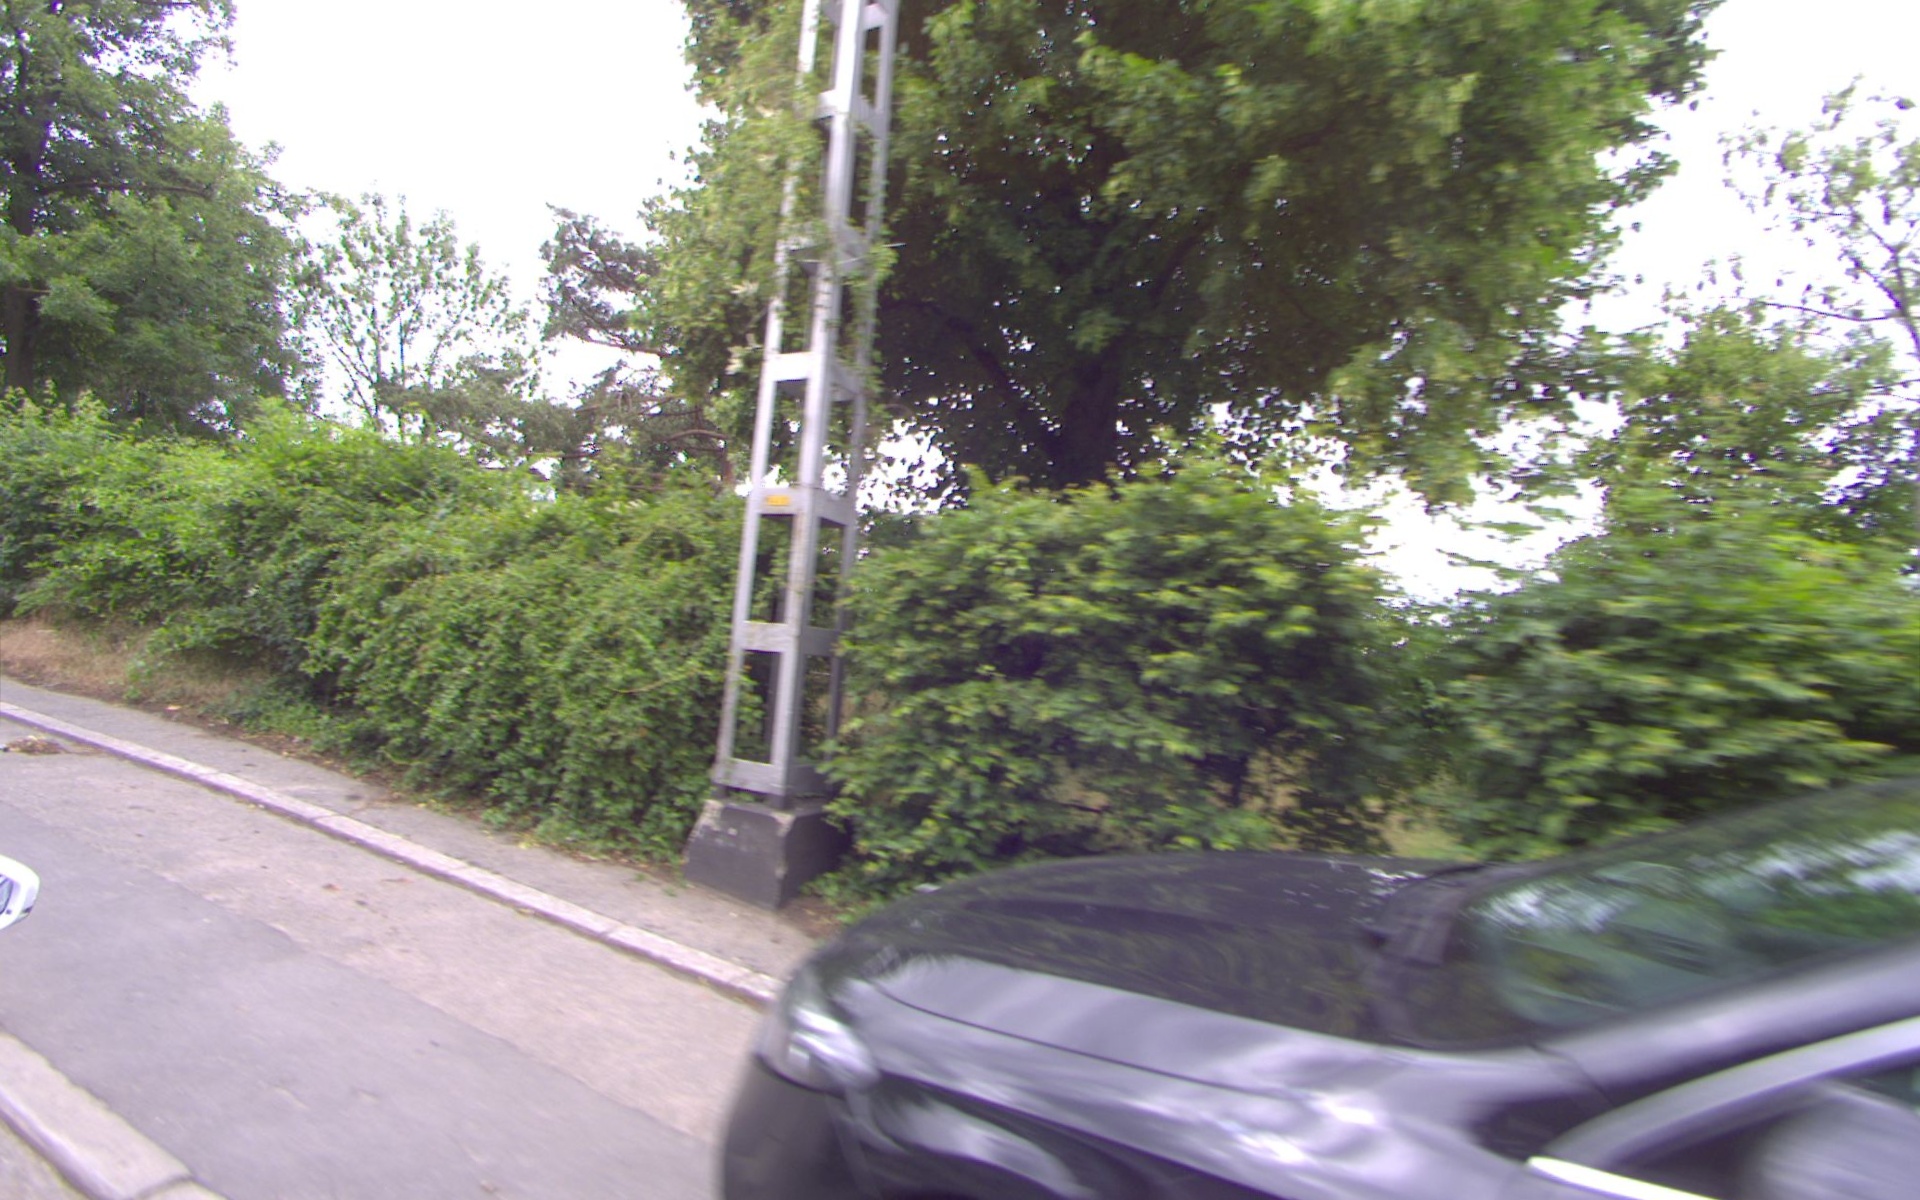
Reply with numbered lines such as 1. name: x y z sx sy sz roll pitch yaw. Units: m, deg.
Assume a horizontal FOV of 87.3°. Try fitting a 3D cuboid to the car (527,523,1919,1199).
1. car: 1.668 0.914 1.234 4.587 1.481 1.703 7 -1 32
